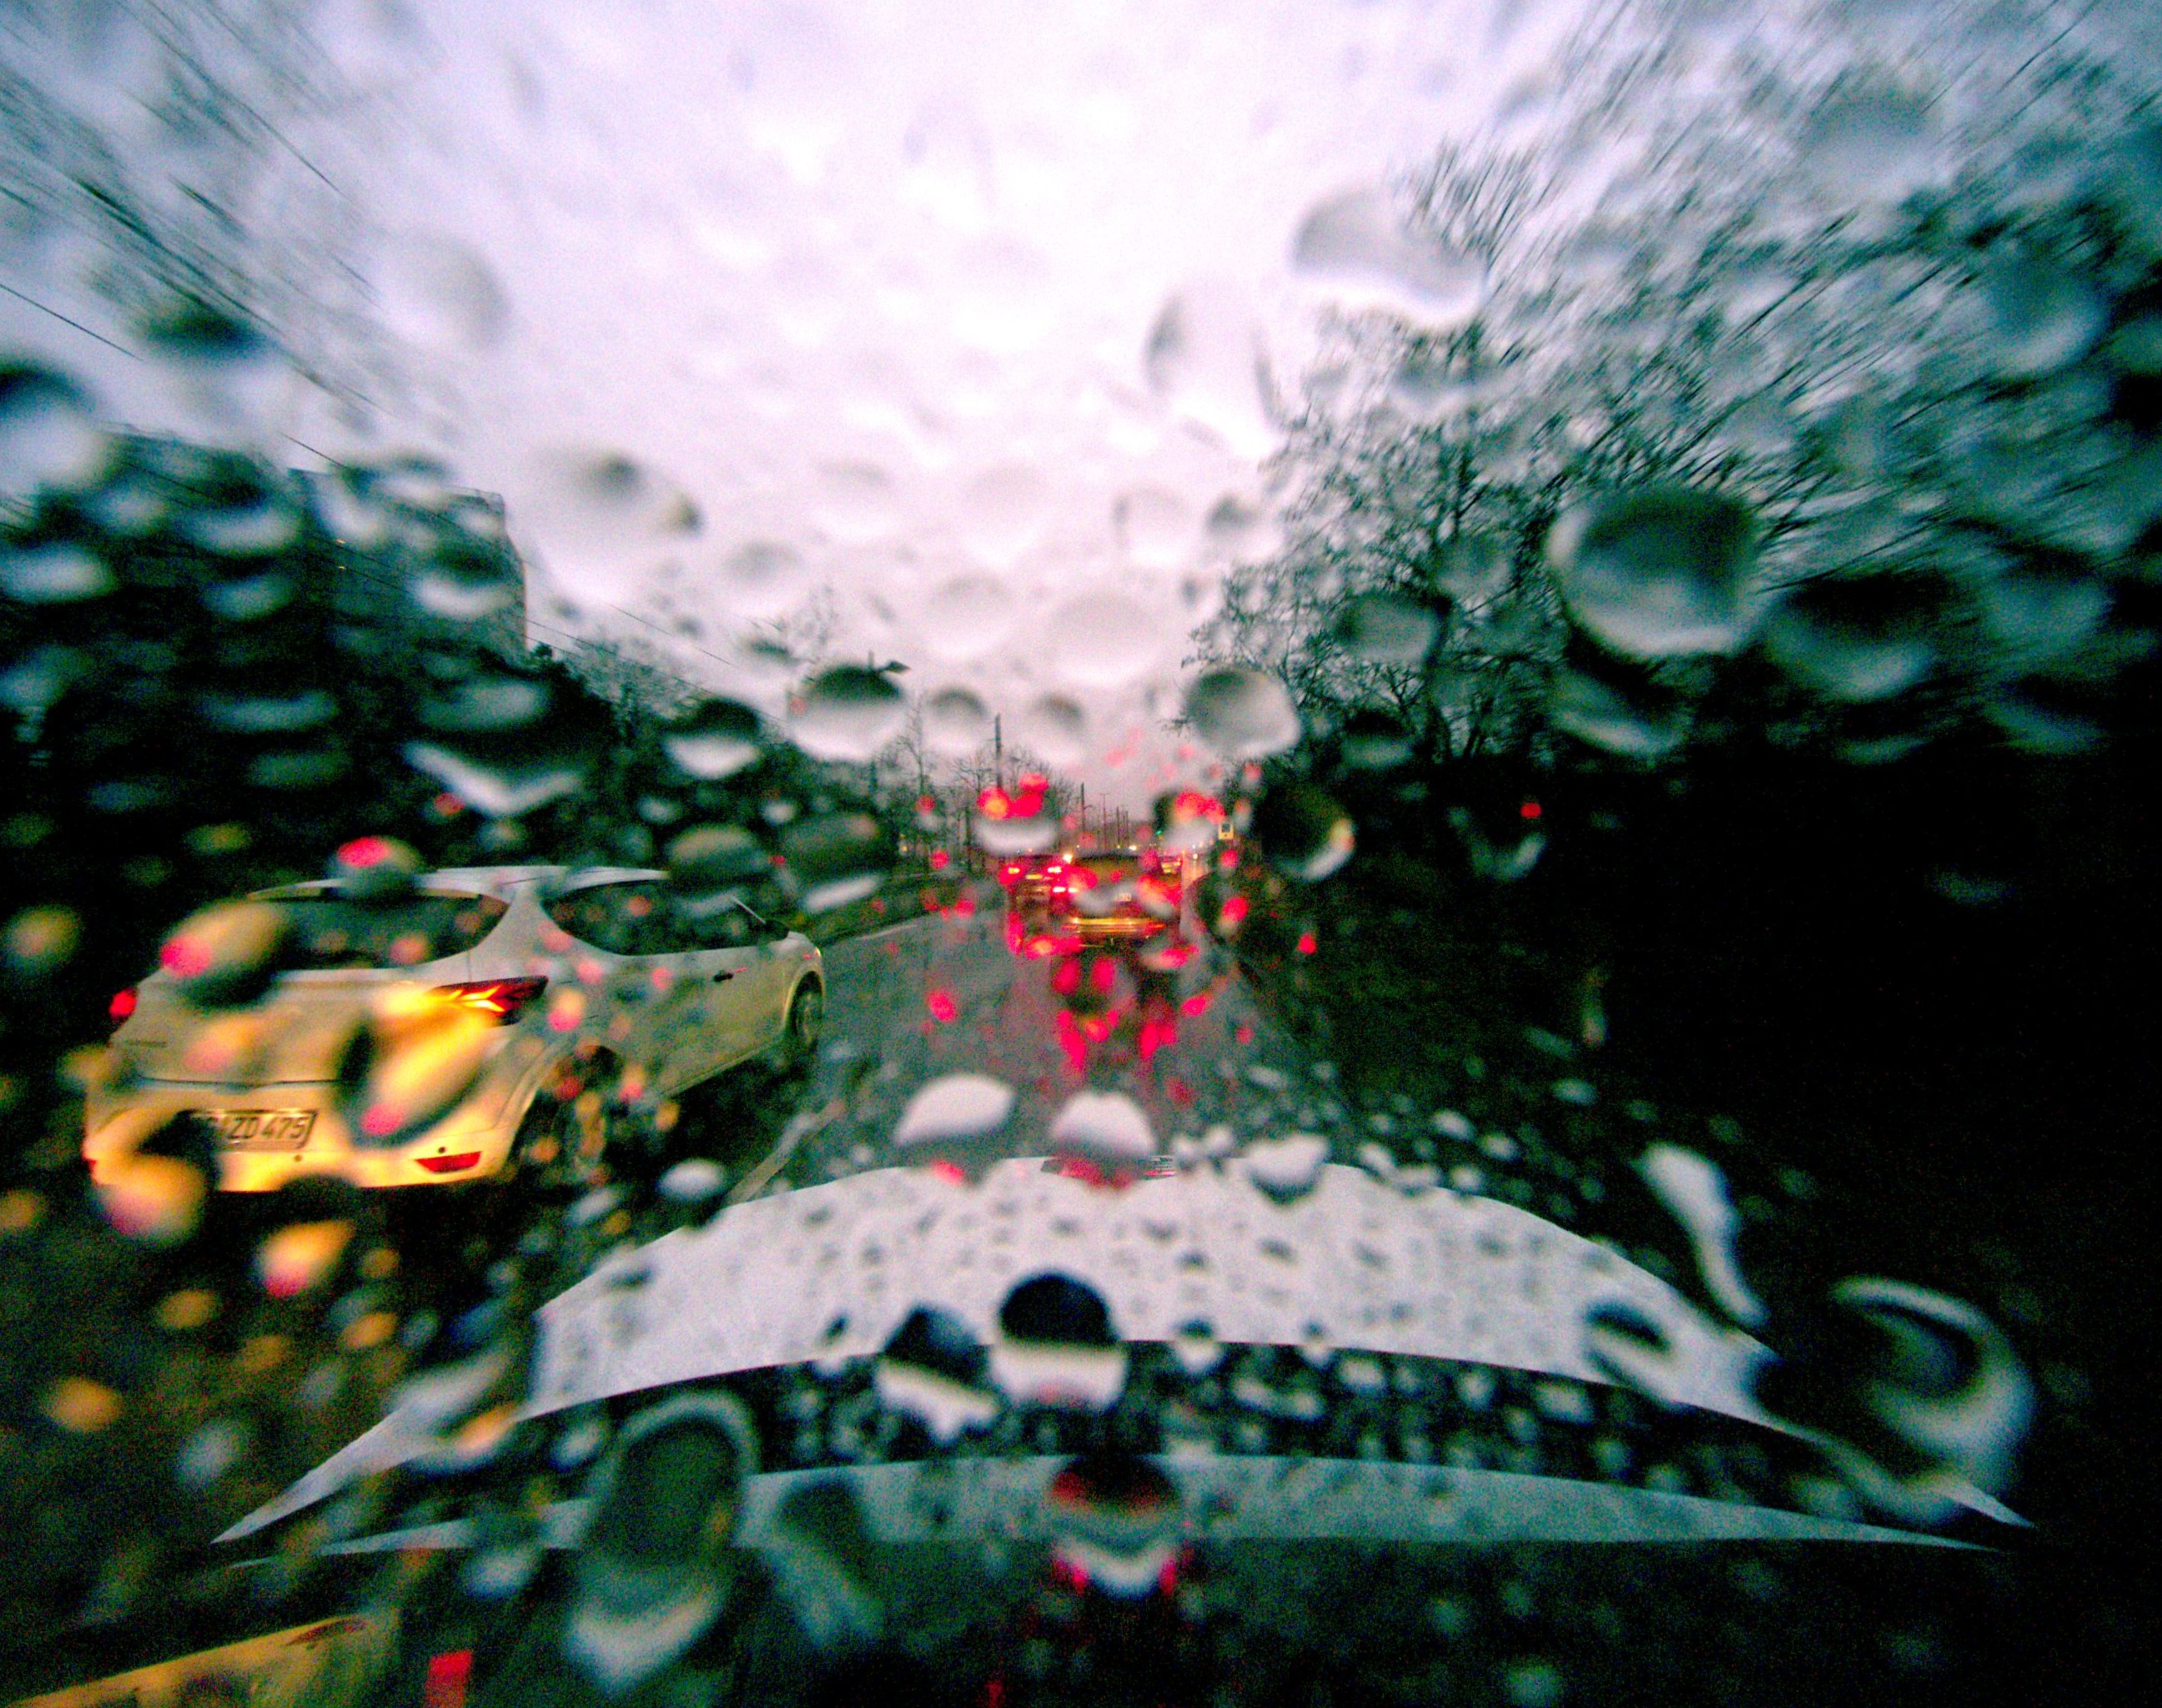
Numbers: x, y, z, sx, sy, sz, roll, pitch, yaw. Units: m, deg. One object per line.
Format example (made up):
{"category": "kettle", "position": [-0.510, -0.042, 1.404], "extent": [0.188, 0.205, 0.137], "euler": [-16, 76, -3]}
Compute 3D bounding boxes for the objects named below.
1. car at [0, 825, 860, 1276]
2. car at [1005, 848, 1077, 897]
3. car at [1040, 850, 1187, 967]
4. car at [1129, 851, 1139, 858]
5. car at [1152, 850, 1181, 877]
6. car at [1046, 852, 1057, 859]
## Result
{"category": "car", "position": [-2.887, 0.686, 4.872], "extent": [1.701, 1.525, 4.139], "euler": [-1, 0, 4]}
{"category": "car", "position": [-1.241, 0.562, 27.003], "extent": [1.872, 1.459, 4.005], "euler": [-2, 0, 4]}
{"category": "car", "position": [0.526, 0.747, 13.193], "extent": [1.990, 1.584, 4.002], "euler": [-1, 0, 2]}
{"category": "car", "position": [12.936, 0.047, 198.553], "extent": [1.983, 1.666, 3.844], "euler": [-2, 0, 7]}
{"category": "car", "position": [5.228, 0.584, 50.076], "extent": [1.700, 1.558, 4.002], "euler": [-1, 0, 5]}
{"category": "car", "position": [-6.859, 0.313, 191.258], "extent": [1.983, 1.658, 4.008], "euler": [0, -1, 7]}
